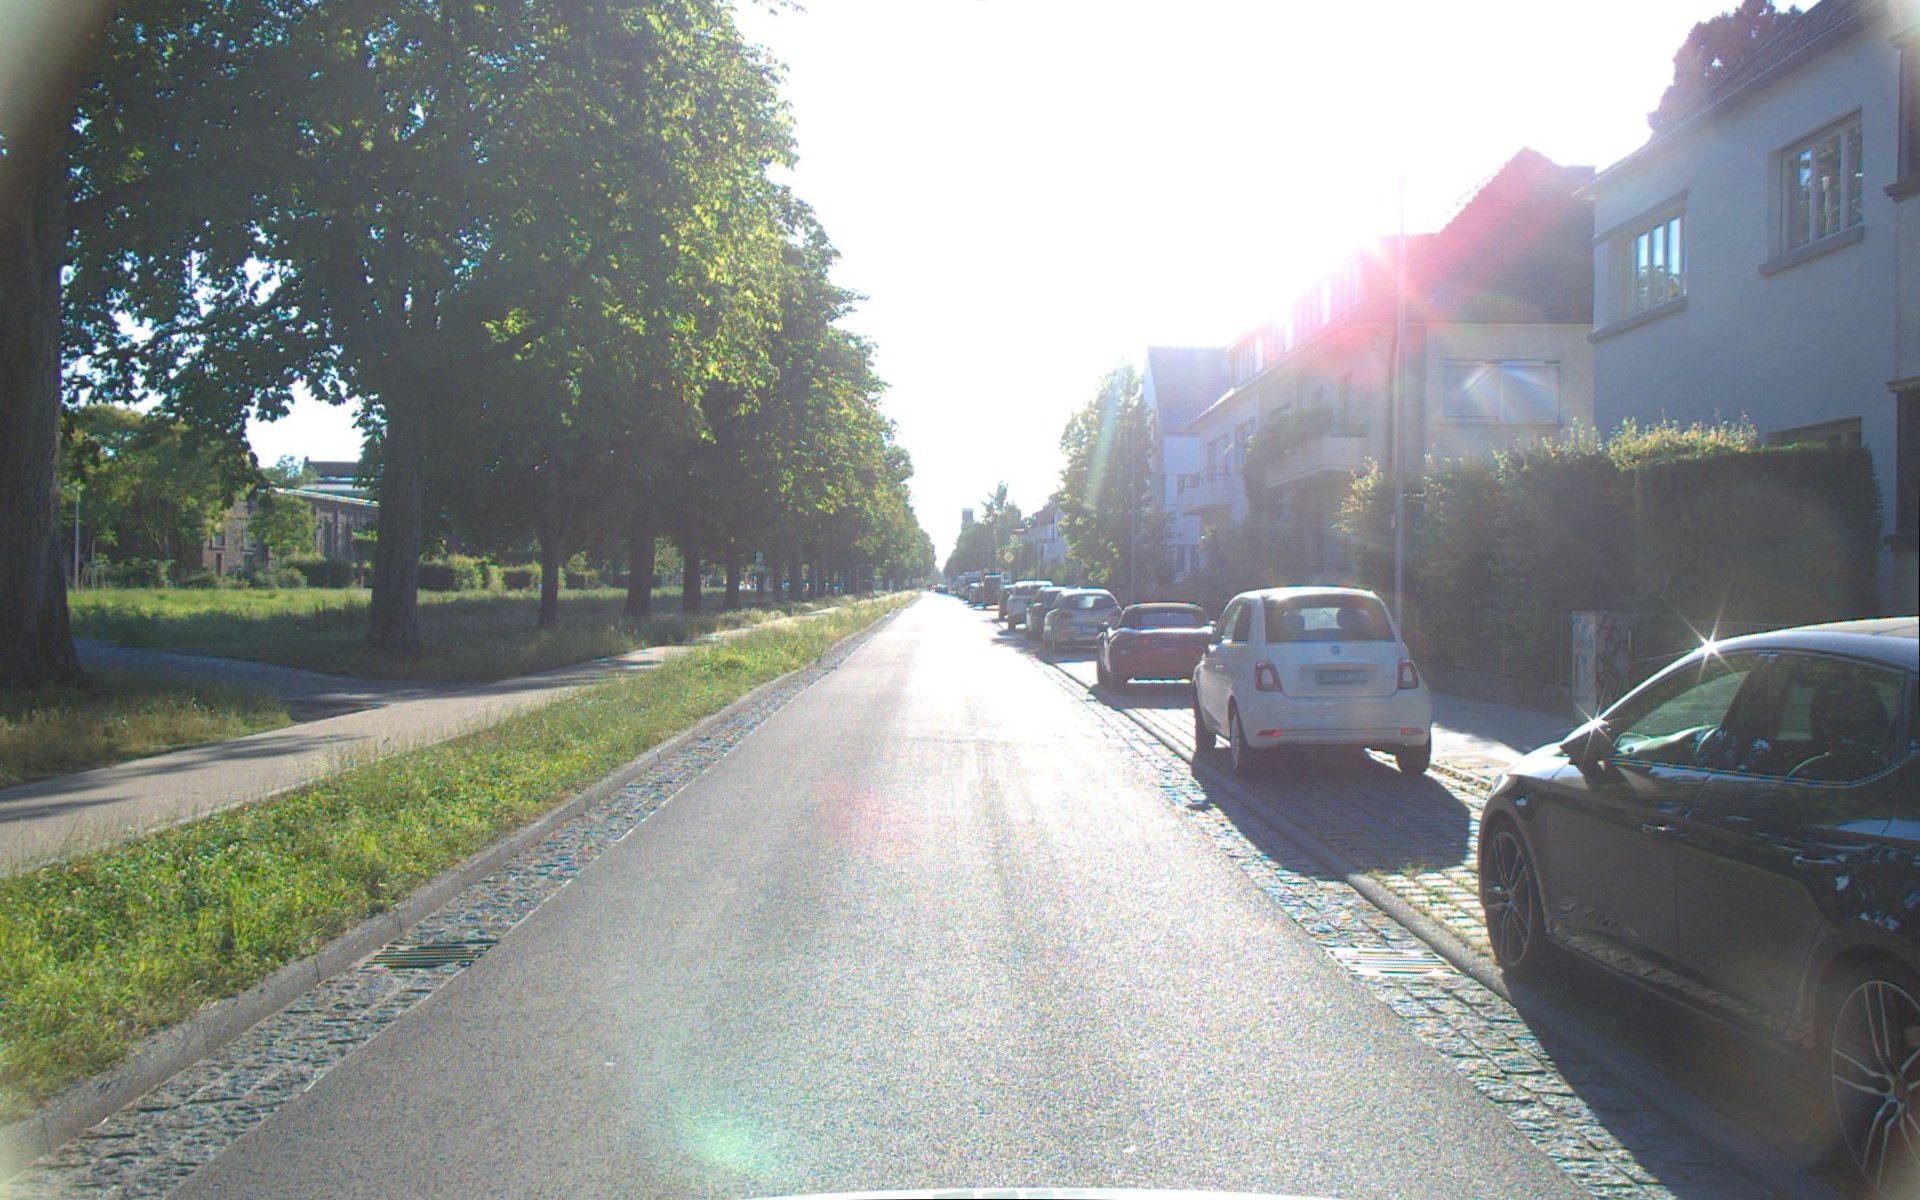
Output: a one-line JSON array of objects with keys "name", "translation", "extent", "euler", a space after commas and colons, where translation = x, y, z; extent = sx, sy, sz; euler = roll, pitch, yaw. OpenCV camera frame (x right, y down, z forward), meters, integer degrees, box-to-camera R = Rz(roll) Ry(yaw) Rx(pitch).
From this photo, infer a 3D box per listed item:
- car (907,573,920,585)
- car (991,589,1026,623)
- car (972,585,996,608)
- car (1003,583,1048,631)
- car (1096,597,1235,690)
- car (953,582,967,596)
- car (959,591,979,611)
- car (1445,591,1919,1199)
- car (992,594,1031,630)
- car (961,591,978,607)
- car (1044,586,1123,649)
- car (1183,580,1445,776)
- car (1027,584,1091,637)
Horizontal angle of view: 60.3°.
[{"name": "car", "translation": [-6.419, -2.923, 228.487], "extent": [1.618, 1.568, 3.266], "euler": [1, 0, -1]}, {"name": "car", "translation": [2.297, 0.274, 78.638], "extent": [1.618, 1.568, 3.266], "euler": [0, 0, 0]}, {"name": "car", "translation": [1.707, -0.268, 118.758], "extent": [1.618, 1.568, 3.266], "euler": [1, 0, 0]}, {"name": "car", "translation": [2.230, 0.232, 57.005], "extent": [1.467, 1.594, 3.266], "euler": [0, 0, 0]}, {"name": "car", "translation": [2.987, 0.599, 24.609], "extent": [1.658, 1.270, 3.497], "euler": [0, 0, 0]}, {"name": "car", "translation": [0.012, -1.327, 193.741], "extent": [1.618, 1.568, 3.266], "euler": [1, 0, -1]}, {"name": "car", "translation": [0.762, 0.059, 136.406], "extent": [1.618, 1.568, 3.266], "euler": [1, 0, 0]}, {"name": "car", "translation": [3.086, 0.717, 5.287], "extent": [1.701, 1.474, 4.195], "euler": [-1, 0, -2]}, {"name": "car", "translation": [2.168, 0.479, 69.689], "extent": [1.561, 1.459, 3.266], "euler": [0, 0, 0]}, {"name": "car", "translation": [0.899, -0.092, 162.957], "extent": [1.618, 1.568, 3.266], "euler": [1, 0, 0]}, {"name": "car", "translation": [2.825, 0.383, 38.435], "extent": [1.618, 1.421, 3.266], "euler": [0, 0, 0]}, {"name": "car", "translation": [3.010, 0.602, 14.728], "extent": [1.560, 1.536, 3.591], "euler": [0, 0, 0]}, {"name": "car", "translation": [2.698, 0.272, 45.596], "extent": [1.618, 1.421, 3.266], "euler": [0, 0, 0]}]
